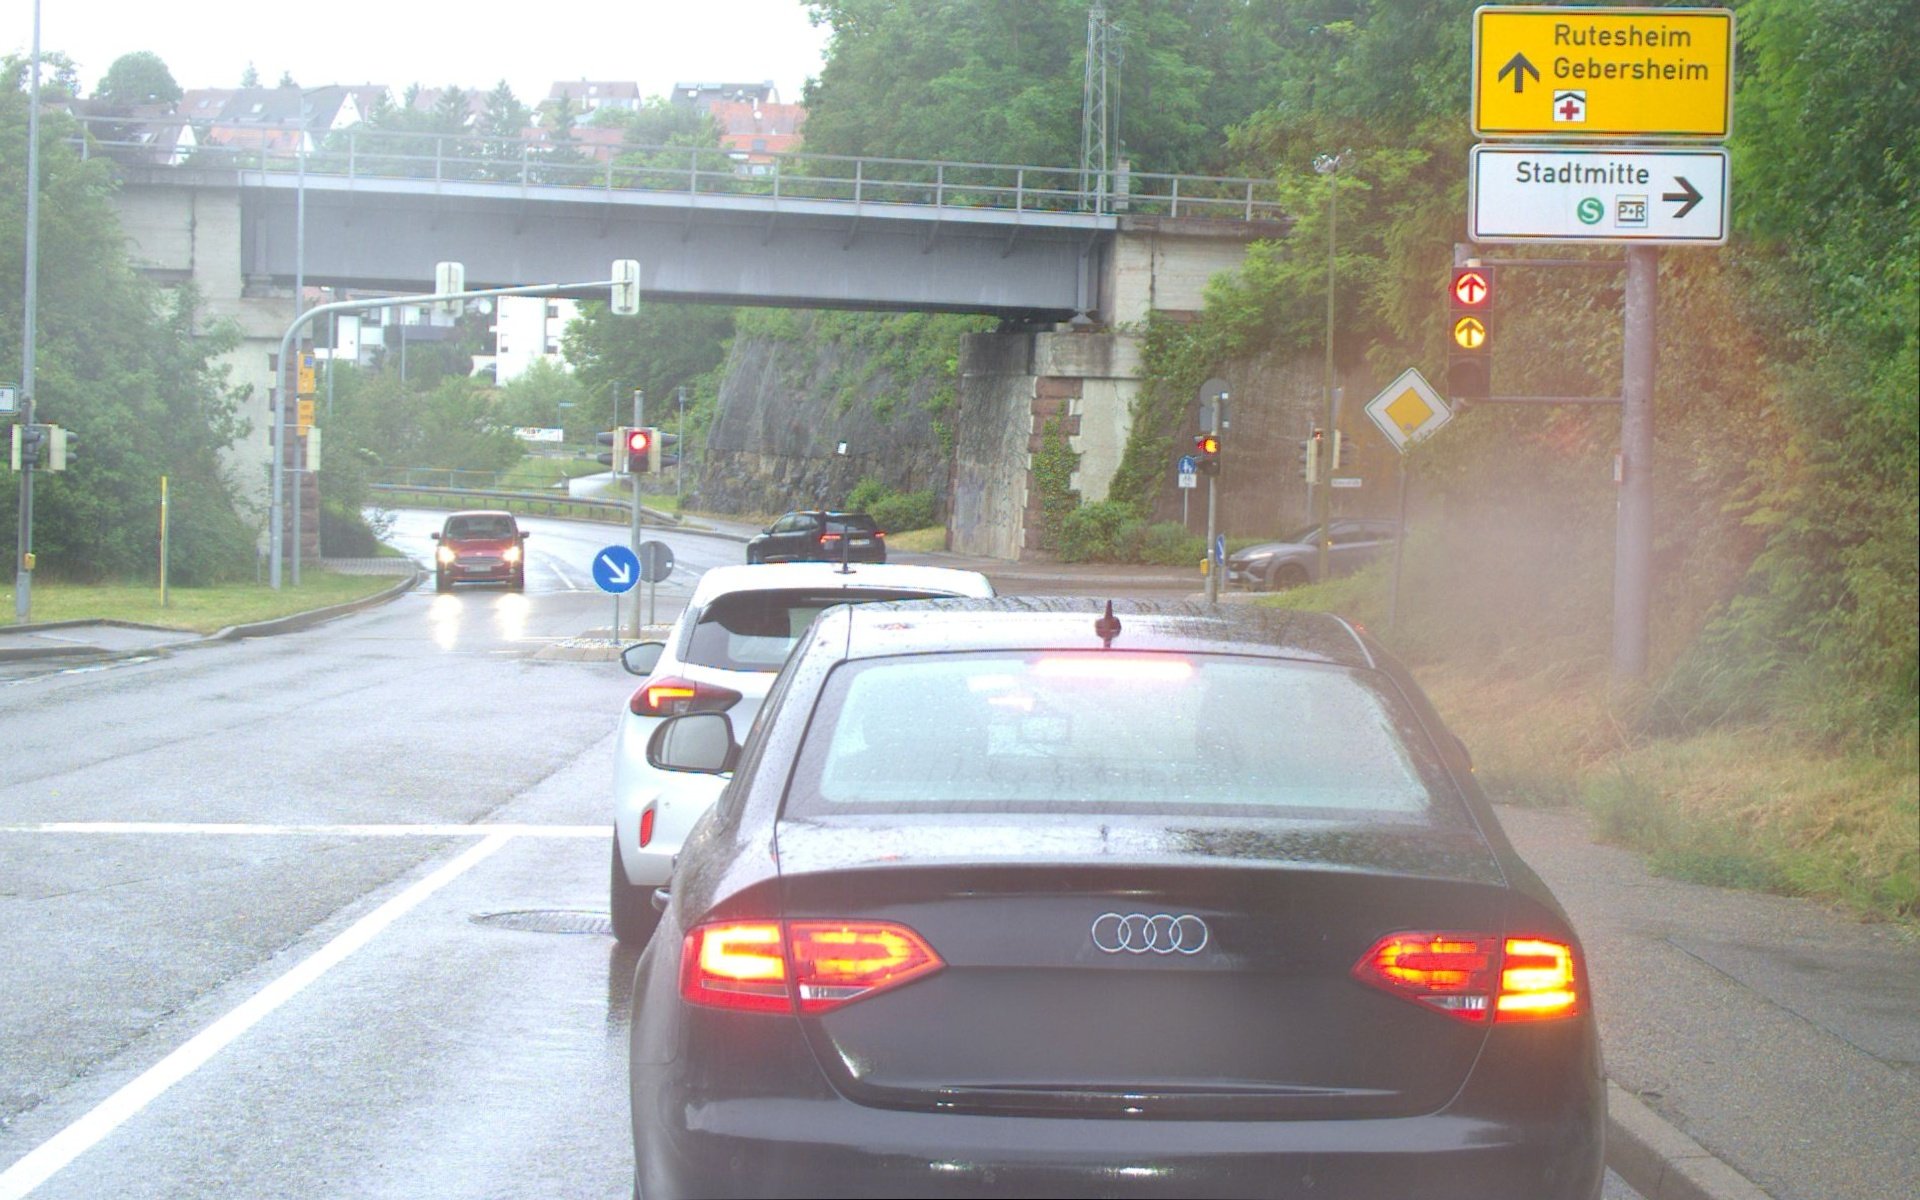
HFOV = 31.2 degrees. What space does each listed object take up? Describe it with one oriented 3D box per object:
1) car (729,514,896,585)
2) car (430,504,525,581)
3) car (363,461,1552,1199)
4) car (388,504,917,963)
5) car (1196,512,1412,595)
[{"bbox_3d":[-3.416,-1.170,79.249,1.994,1.590,4.000,-1,2,-35],"label":"car"},{"bbox_3d":[-10.486,-1.253,74.905,1.993,1.622,4.001,0,1,-7],"label":"car"},{"bbox_3d":[-0.030,0.597,7.434,1.870,1.611,4.000,1,0,-1],"label":"car"},{"bbox_3d":[-1.096,0.467,13.957,1.823,1.579,4.000,1,0,-1],"label":"car"},{"bbox_3d":[6.813,-0.928,68.308,3.986,1.465,1.645,2,1,-5],"label":"car"}]
